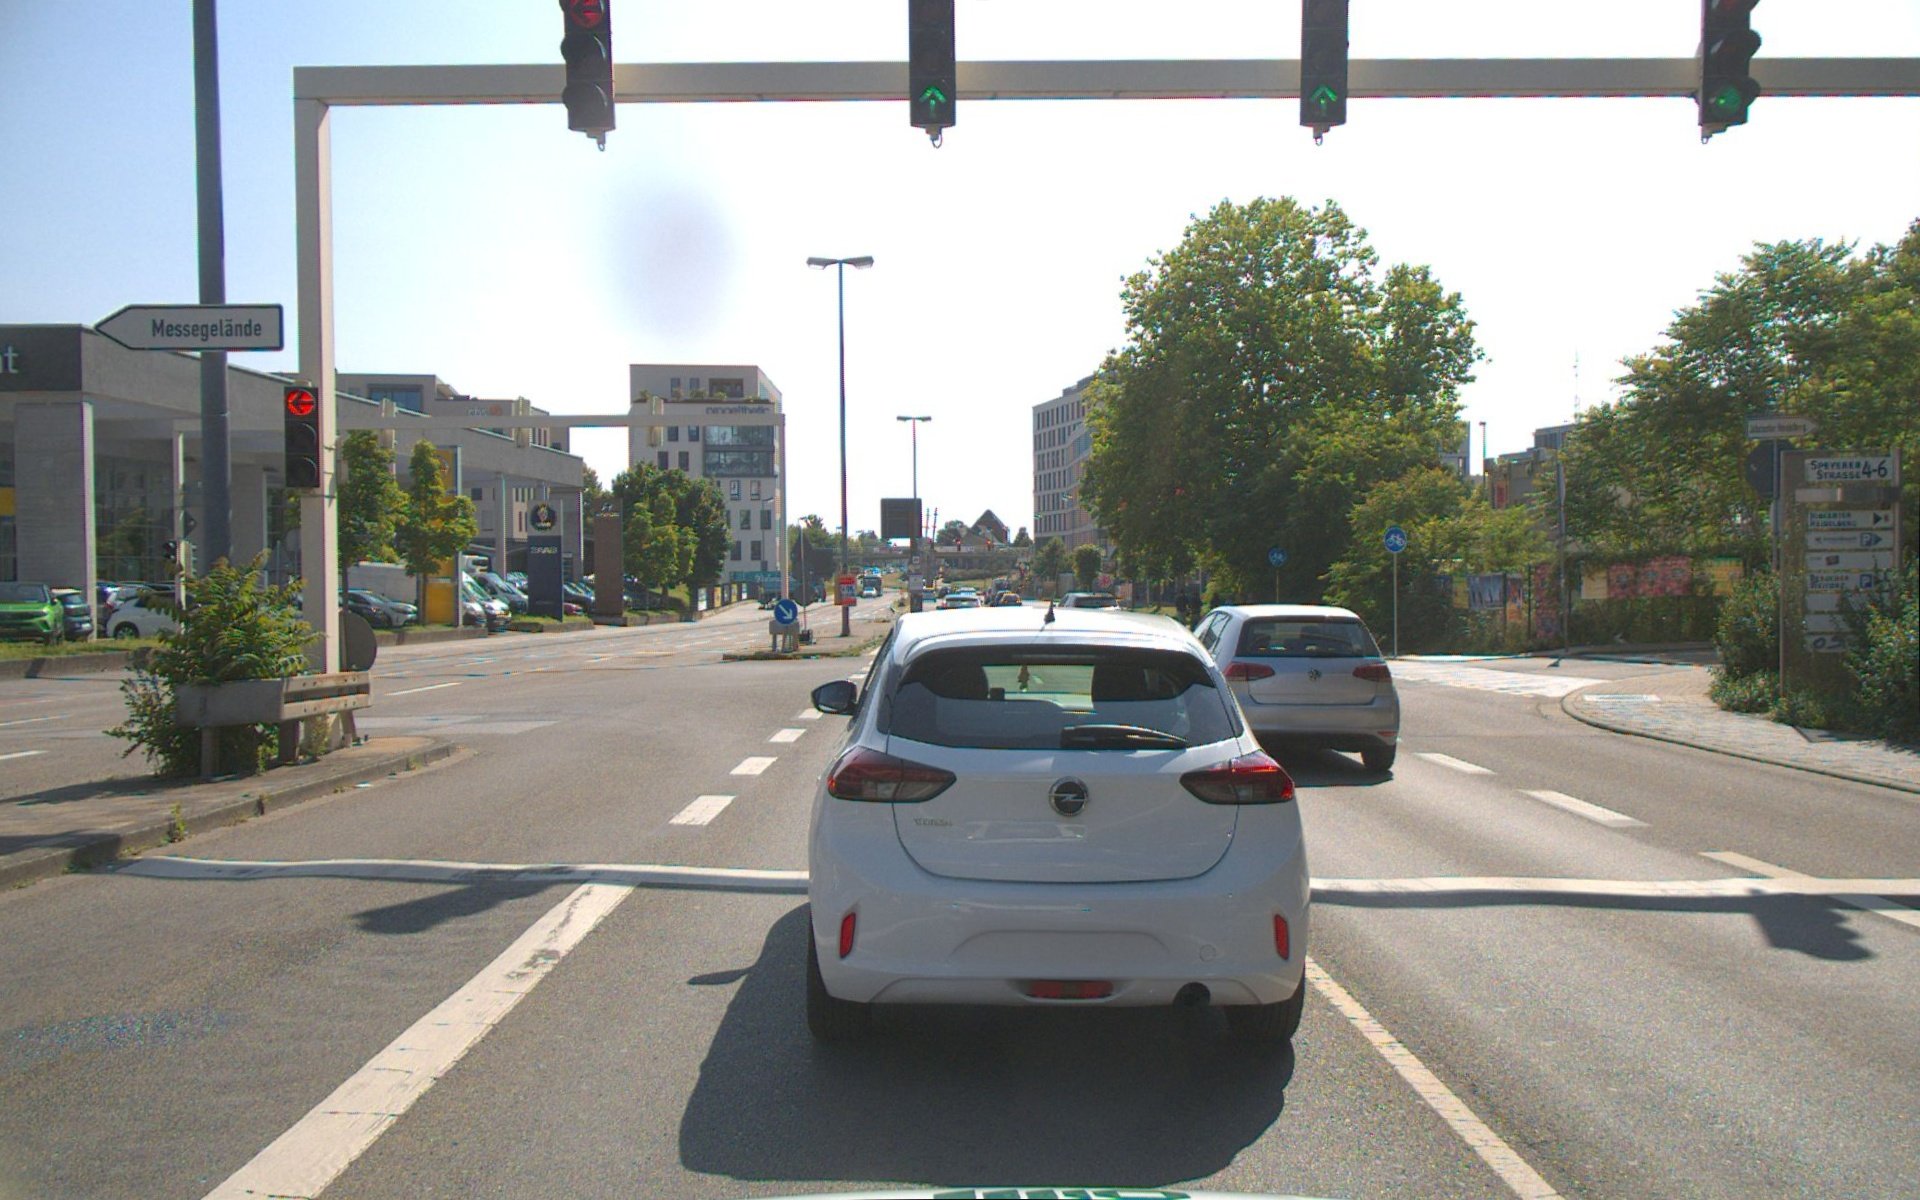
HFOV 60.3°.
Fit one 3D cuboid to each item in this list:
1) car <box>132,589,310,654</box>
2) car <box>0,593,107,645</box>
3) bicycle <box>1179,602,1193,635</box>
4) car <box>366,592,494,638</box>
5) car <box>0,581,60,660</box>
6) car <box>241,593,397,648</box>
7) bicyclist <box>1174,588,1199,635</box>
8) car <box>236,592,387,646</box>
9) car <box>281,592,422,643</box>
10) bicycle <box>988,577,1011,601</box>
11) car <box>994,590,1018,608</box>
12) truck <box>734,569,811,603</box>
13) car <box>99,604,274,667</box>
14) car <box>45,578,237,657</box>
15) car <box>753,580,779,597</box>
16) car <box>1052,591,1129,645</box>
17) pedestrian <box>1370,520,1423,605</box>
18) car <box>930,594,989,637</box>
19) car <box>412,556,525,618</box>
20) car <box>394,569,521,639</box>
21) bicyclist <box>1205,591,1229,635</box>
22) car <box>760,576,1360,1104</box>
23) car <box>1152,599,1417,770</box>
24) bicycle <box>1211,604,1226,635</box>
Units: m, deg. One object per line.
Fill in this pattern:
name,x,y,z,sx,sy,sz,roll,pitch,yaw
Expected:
car,-21.335,0.612,47.884,4.211,1.796,1.999,-1,0,-3
car,-25.905,0.551,45.066,4.275,1.290,1.996,-2,-2,-9
bicycle,8.702,0.703,63.623,0.365,1.238,1.153,1,0,0
car,-20.621,0.586,64.465,4.265,1.726,2.001,-1,0,3
car,-22.252,0.507,38.456,1.886,1.764,3.251,-1,-1,-37
car,-20.596,0.638,53.264,4.269,1.726,1.999,0,0,-3
bicyclist,8.709,0.436,63.611,0.861,1.803,0.863,0,0,-1
car,-21.710,0.632,55.480,4.270,1.726,1.999,-1,0,-3
car,-21.536,0.608,58.683,4.270,1.726,1.999,-1,0,-3
bicycle,3.688,-1.024,154.864,1.953,2.195,3.999,0,0,-1
car,3.704,-0.082,134.689,1.769,1.410,3.999,1,-1,-1
truck,-22.417,-1.704,197.880,8.898,3.901,3.073,-1,0,-11
car,-21.203,0.948,45.469,3.911,1.627,1.997,-1,0,-8
car,-20.400,0.418,41.336,3.793,1.870,1.999,-1,0,-3
car,-16.577,-0.978,141.386,1.769,1.410,3.999,1,-1,-1
car,3.985,0.515,51.157,1.953,1.578,4.433,-1,0,-1
pedestrian,10.786,-0.915,40.895,1.006,2.049,1.038,0,0,-1
car,-0.065,0.545,59.874,1.953,1.472,4.369,0,0,-2
car,-21.417,-0.549,72.217,4.265,2.646,2.001,0,0,5
car,-20.305,0.167,66.865,4.401,2.731,2.130,0,0,8
bicyclist,9.777,0.497,62.880,0.675,1.672,0.775,0,0,-9
car,0.274,0.690,6.828,1.743,1.520,3.999,0,0,-1
car,3.021,0.736,16.210,1.770,1.454,3.999,0,0,-1
bicycle,9.821,0.751,62.858,0.366,1.167,1.034,1,-1,-2
